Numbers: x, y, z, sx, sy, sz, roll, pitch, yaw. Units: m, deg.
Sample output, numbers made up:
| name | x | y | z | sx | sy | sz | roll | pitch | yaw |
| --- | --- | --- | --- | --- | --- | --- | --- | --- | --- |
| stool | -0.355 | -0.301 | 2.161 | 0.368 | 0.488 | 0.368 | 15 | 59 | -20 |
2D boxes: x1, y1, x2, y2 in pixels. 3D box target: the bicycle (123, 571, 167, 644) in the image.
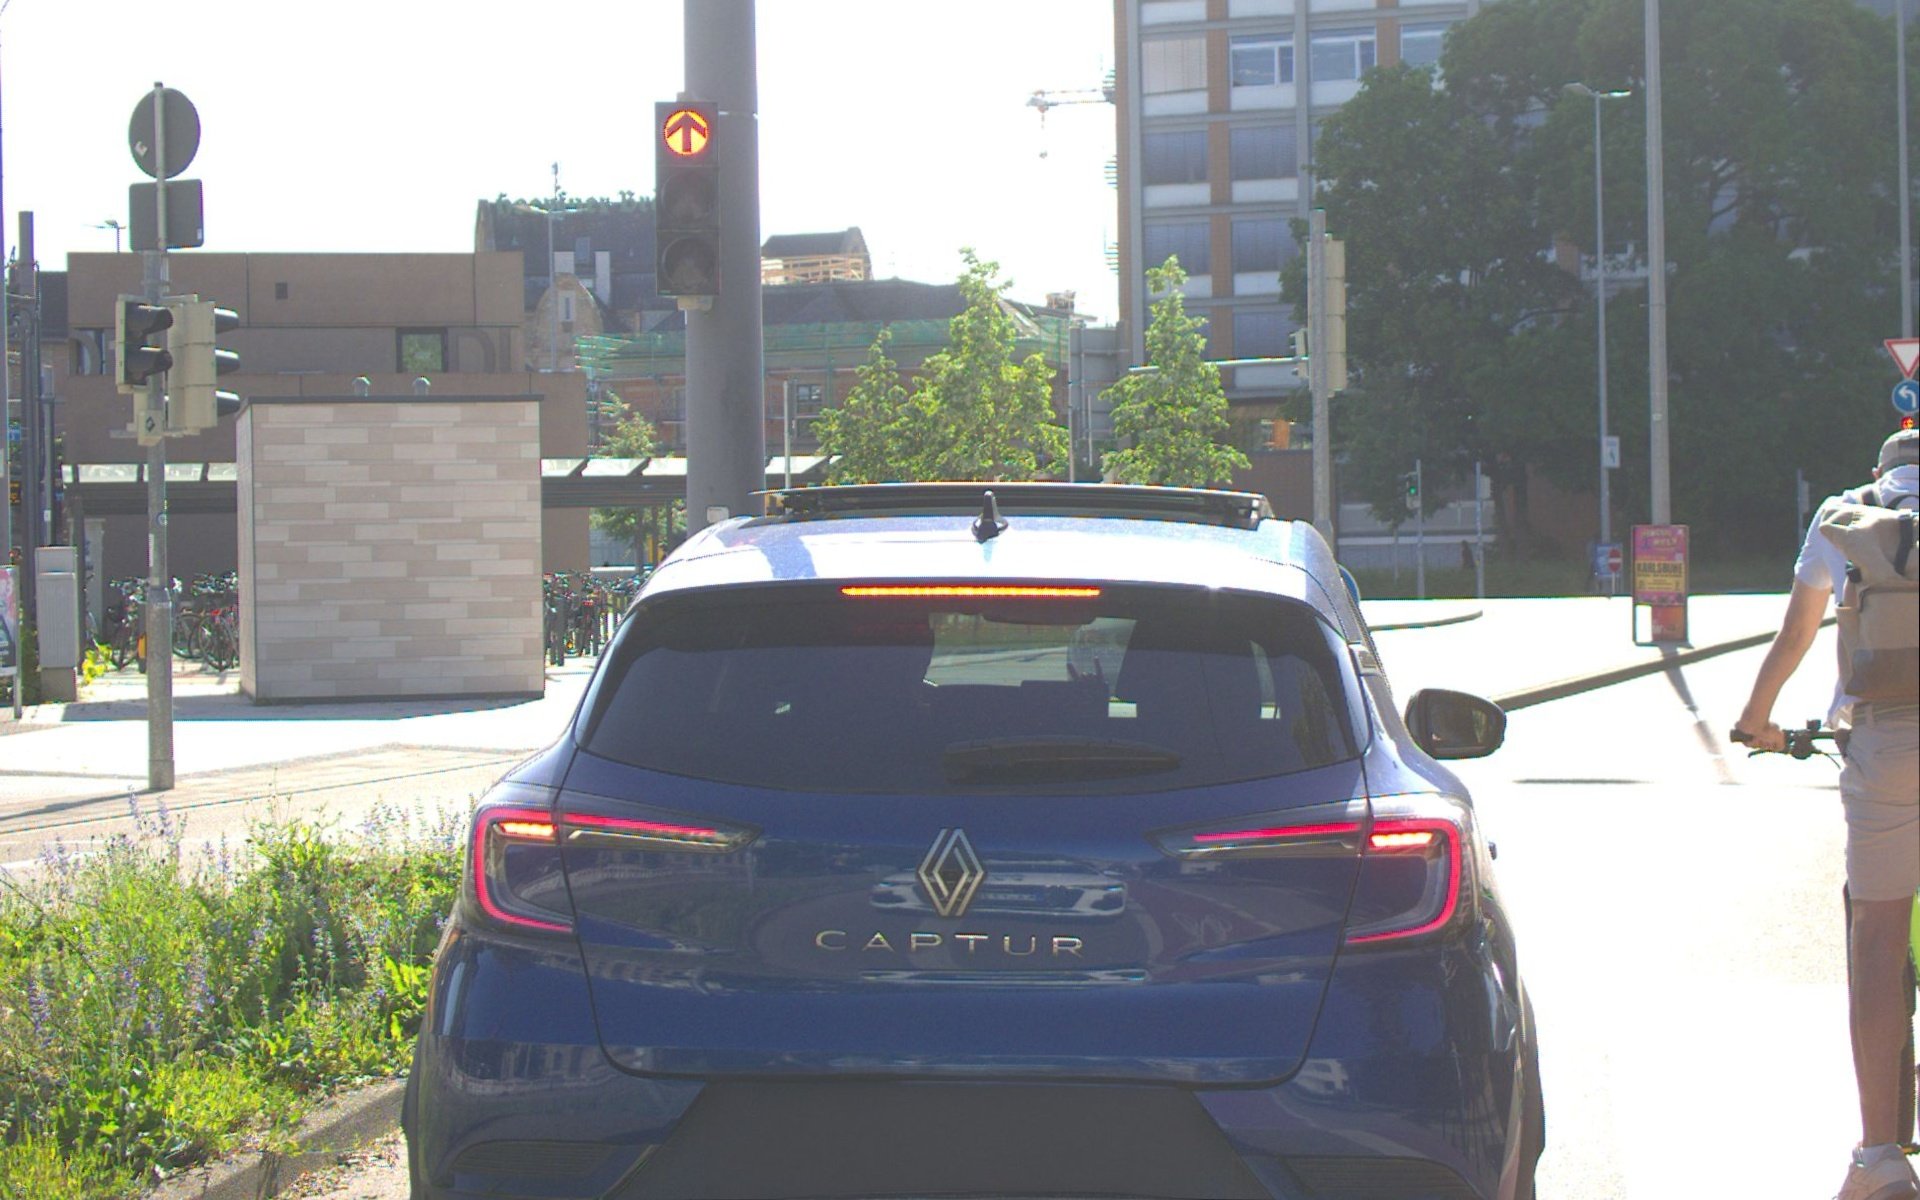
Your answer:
| name | x | y | z | sx | sy | sz | roll | pitch | yaw |
| --- | --- | --- | --- | --- | --- | --- | --- | --- | --- |
| bicycle | -12.378 | 0.112 | 52.225 | 0.565 | 1.090 | 2.030 | 0 | 0 | -11 |

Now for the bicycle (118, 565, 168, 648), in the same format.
| name | x | y | z | sx | sy | sz | roll | pitch | yaw |
| --- | --- | --- | --- | --- | --- | --- | --- | --- | --- |
| bicycle | -10.905 | 0.088 | 45.916 | 0.565 | 1.090 | 2.030 | 0 | 0 | -11 |

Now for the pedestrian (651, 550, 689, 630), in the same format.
| name | x | y | z | sx | sy | sz | roll | pitch | yaw |
| --- | --- | --- | --- | --- | --- | --- | --- | --- | --- |
| pedestrian | -6.738 | -0.234 | 79.941 | 0.726 | 1.850 | 0.702 | 0 | 0 | 8 |

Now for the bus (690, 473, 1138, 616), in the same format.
| name | x | y | z | sx | sy | sz | roll | pitch | yaw |
| --- | --- | --- | --- | --- | --- | --- | --- | --- | --- |
| bus | -1.337 | -1.314 | 86.809 | 12.434 | 3.384 | 2.876 | 0 | 0 | 40 |

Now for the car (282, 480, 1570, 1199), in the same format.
| name | x | y | z | sx | sy | sz | roll | pitch | yaw |
| --- | --- | --- | --- | --- | --- | --- | --- | --- | --- |
| car | 0.098 | 0.604 | 6.692 | 1.823 | 1.594 | 3.658 | 1 | 1 | 5 |

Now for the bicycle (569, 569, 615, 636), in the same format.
| name | x | y | z | sx | sy | sz | roll | pitch | yaw |
| --- | --- | --- | --- | --- | --- | --- | --- | --- | --- |
| bicycle | -6.026 | 0.044 | 56.176 | 0.580 | 1.084 | 1.872 | 0 | 0 | -11 |

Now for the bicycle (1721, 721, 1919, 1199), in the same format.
| name | x | y | z | sx | sy | sz | roll | pitch | yaw |
| --- | --- | --- | --- | --- | --- | --- | --- | --- | --- |
| bicycle | 2.130 | 0.839 | 7.627 | 0.663 | 1.043 | 1.890 | 0 | 1 | 6 |

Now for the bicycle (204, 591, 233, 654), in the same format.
| name | x | y | z | sx | sy | sz | roll | pitch | yaw |
| --- | --- | --- | --- | --- | --- | --- | --- | --- | --- |
| bicycle | -11.355 | 0.339 | 52.661 | 0.421 | 0.934 | 1.379 | 1 | 0 | -11 |

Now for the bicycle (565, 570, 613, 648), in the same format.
| name | x | y | z | sx | sy | sz | roll | pitch | yaw |
| --- | --- | --- | --- | --- | --- | --- | --- | --- | --- |
| bicycle | -5.262 | 0.132 | 48.702 | 0.580 | 1.084 | 2.059 | 0 | 0 | -9 |

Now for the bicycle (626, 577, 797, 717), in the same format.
| name | x | y | z | sx | sy | sz | roll | pitch | yaw |
| --- | --- | --- | --- | --- | --- | --- | --- | --- | --- |
| bicycle | -2.006 | 0.364 | 28.056 | 0.773 | 1.077 | 2.034 | -1 | 0 | 14 |

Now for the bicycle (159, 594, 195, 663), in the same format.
| name | x | y | z | sx | sy | sz | roll | pitch | yaw |
| --- | --- | --- | --- | --- | --- | --- | --- | --- | --- |
| bicycle | -10.856 | 0.393 | 47.638 | 0.421 | 0.934 | 1.306 | 1 | 0 | -15 |

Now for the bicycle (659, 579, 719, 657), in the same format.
| name | x | y | z | sx | sy | sz | roll | pitch | yaw |
| --- | --- | --- | --- | --- | --- | --- | --- | --- | --- |
| bicycle | -3.410 | 0.225 | 43.130 | 0.580 | 0.958 | 2.059 | 0 | 0 | -9 |

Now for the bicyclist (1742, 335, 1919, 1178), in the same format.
| name | x | y | z | sx | sy | sz | roll | pitch | yaw |
| --- | --- | --- | --- | --- | --- | --- | --- | --- | --- |
| bicyclist | 2.124 | 0.316 | 7.588 | 0.664 | 1.741 | 1.005 | 0 | 1 | 7 |

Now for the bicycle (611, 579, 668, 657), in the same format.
| name | x | y | z | sx | sy | sz | roll | pitch | yaw |
| --- | --- | --- | --- | --- | --- | --- | --- | --- | --- |
| bicycle | -4.022 | 0.222 | 43.042 | 0.580 | 0.958 | 2.059 | 0 | 0 | -9 |

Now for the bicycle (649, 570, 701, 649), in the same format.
| name | x | y | z | sx | sy | sz | roll | pitch | yaw |
| --- | --- | --- | --- | --- | --- | --- | --- | --- | --- |
| bicycle | -4.053 | 0.136 | 48.773 | 0.580 | 1.084 | 2.059 | 0 | 0 | -9 |

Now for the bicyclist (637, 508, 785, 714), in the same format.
| name | x | y | z | sx | sy | sz | roll | pitch | yaw |
| --- | --- | --- | --- | --- | --- | --- | --- | --- | --- |
| bicyclist | -2.023 | 0.084 | 28.084 | 0.880 | 1.639 | 1.060 | -1 | 0 | 14 |

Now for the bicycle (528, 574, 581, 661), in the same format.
| name | x | y | z | sx | sy | sz | roll | pitch | yaw |
| --- | --- | --- | --- | --- | --- | --- | --- | --- | --- |
| bicycle | -5.039 | 0.217 | 42.667 | 0.580 | 1.054 | 1.817 | 0 | 0 | -9 |

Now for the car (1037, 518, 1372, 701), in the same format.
| name | x | y | z | sx | sy | sz | roll | pitch | yaw |
| --- | --- | --- | --- | --- | --- | --- | --- | --- | --- |
| car | 2.228 | 0.045 | 30.234 | 1.802 | 1.388 | 4.089 | -1 | 2 | 21 |

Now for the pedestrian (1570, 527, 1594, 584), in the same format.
| name | x | y | z | sx | sy | sz | roll | pitch | yaw |
| --- | --- | --- | --- | --- | --- | --- | --- | --- | --- |
| pedestrian | 18.281 | -1.303 | 101.021 | 0.561 | 1.664 | 0.475 | 0 | -1 | 37 |
